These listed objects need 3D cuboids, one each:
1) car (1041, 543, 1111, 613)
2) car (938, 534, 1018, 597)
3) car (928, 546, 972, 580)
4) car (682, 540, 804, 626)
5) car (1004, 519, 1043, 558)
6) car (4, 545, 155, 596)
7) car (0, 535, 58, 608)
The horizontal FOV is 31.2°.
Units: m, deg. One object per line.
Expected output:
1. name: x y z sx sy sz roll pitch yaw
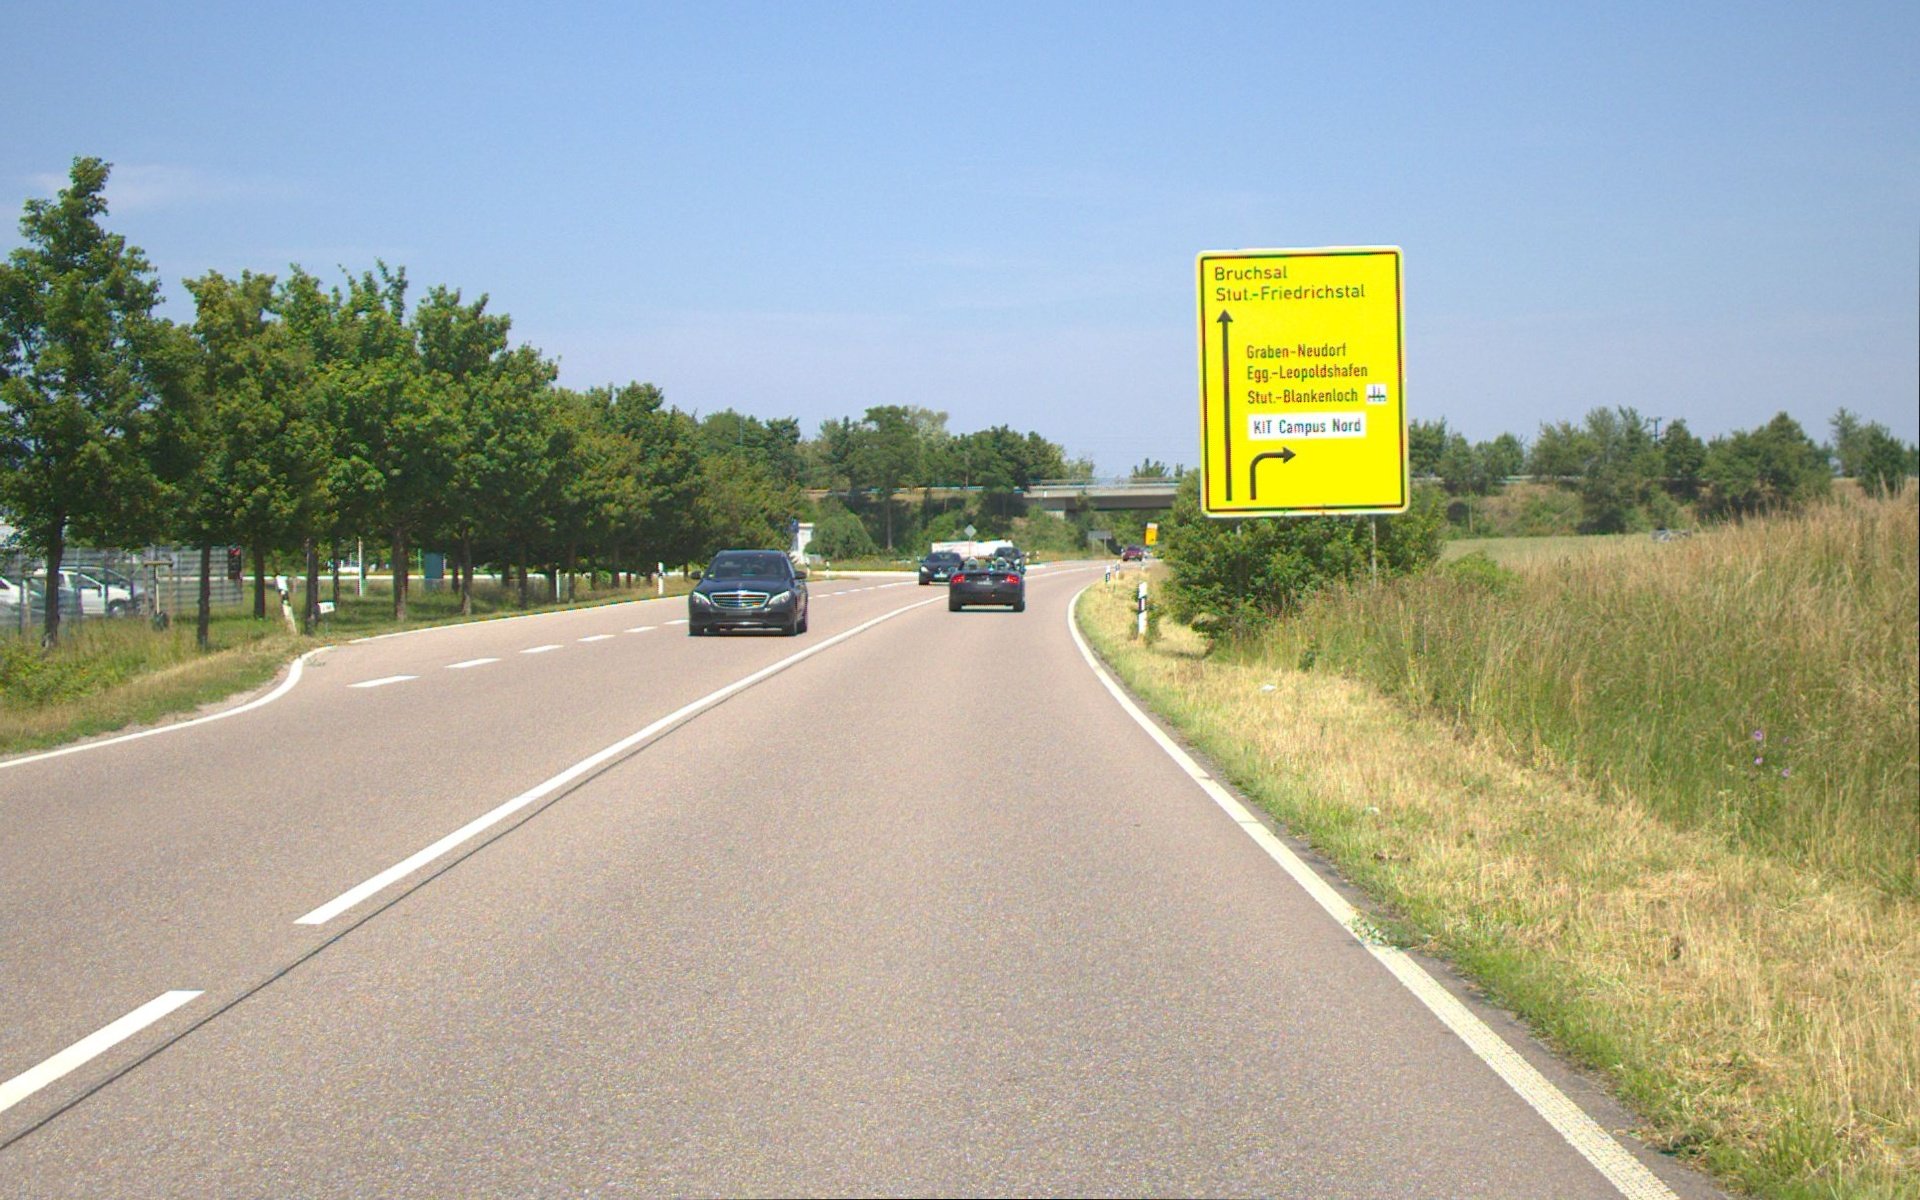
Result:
1. car: 3.423 -0.660 102.164 1.747 2.007 4.000 1 0 -3
2. car: 0.398 -0.813 81.261 1.814 1.436 4.000 1 1 -1
3. car: -0.370 -1.412 131.350 1.636 1.264 3.812 0 1 0
4. car: -3.707 -0.326 59.395 1.781 1.415 4.534 0 1 0
5. car: 3.430 -3.295 185.523 1.993 2.007 4.000 1 0 2
6. car: -26.073 -0.880 101.856 3.981 1.474 1.673 -1 1 -37
7. car: -26.901 -0.770 92.800 4.649 1.947 1.827 0 1 -30
